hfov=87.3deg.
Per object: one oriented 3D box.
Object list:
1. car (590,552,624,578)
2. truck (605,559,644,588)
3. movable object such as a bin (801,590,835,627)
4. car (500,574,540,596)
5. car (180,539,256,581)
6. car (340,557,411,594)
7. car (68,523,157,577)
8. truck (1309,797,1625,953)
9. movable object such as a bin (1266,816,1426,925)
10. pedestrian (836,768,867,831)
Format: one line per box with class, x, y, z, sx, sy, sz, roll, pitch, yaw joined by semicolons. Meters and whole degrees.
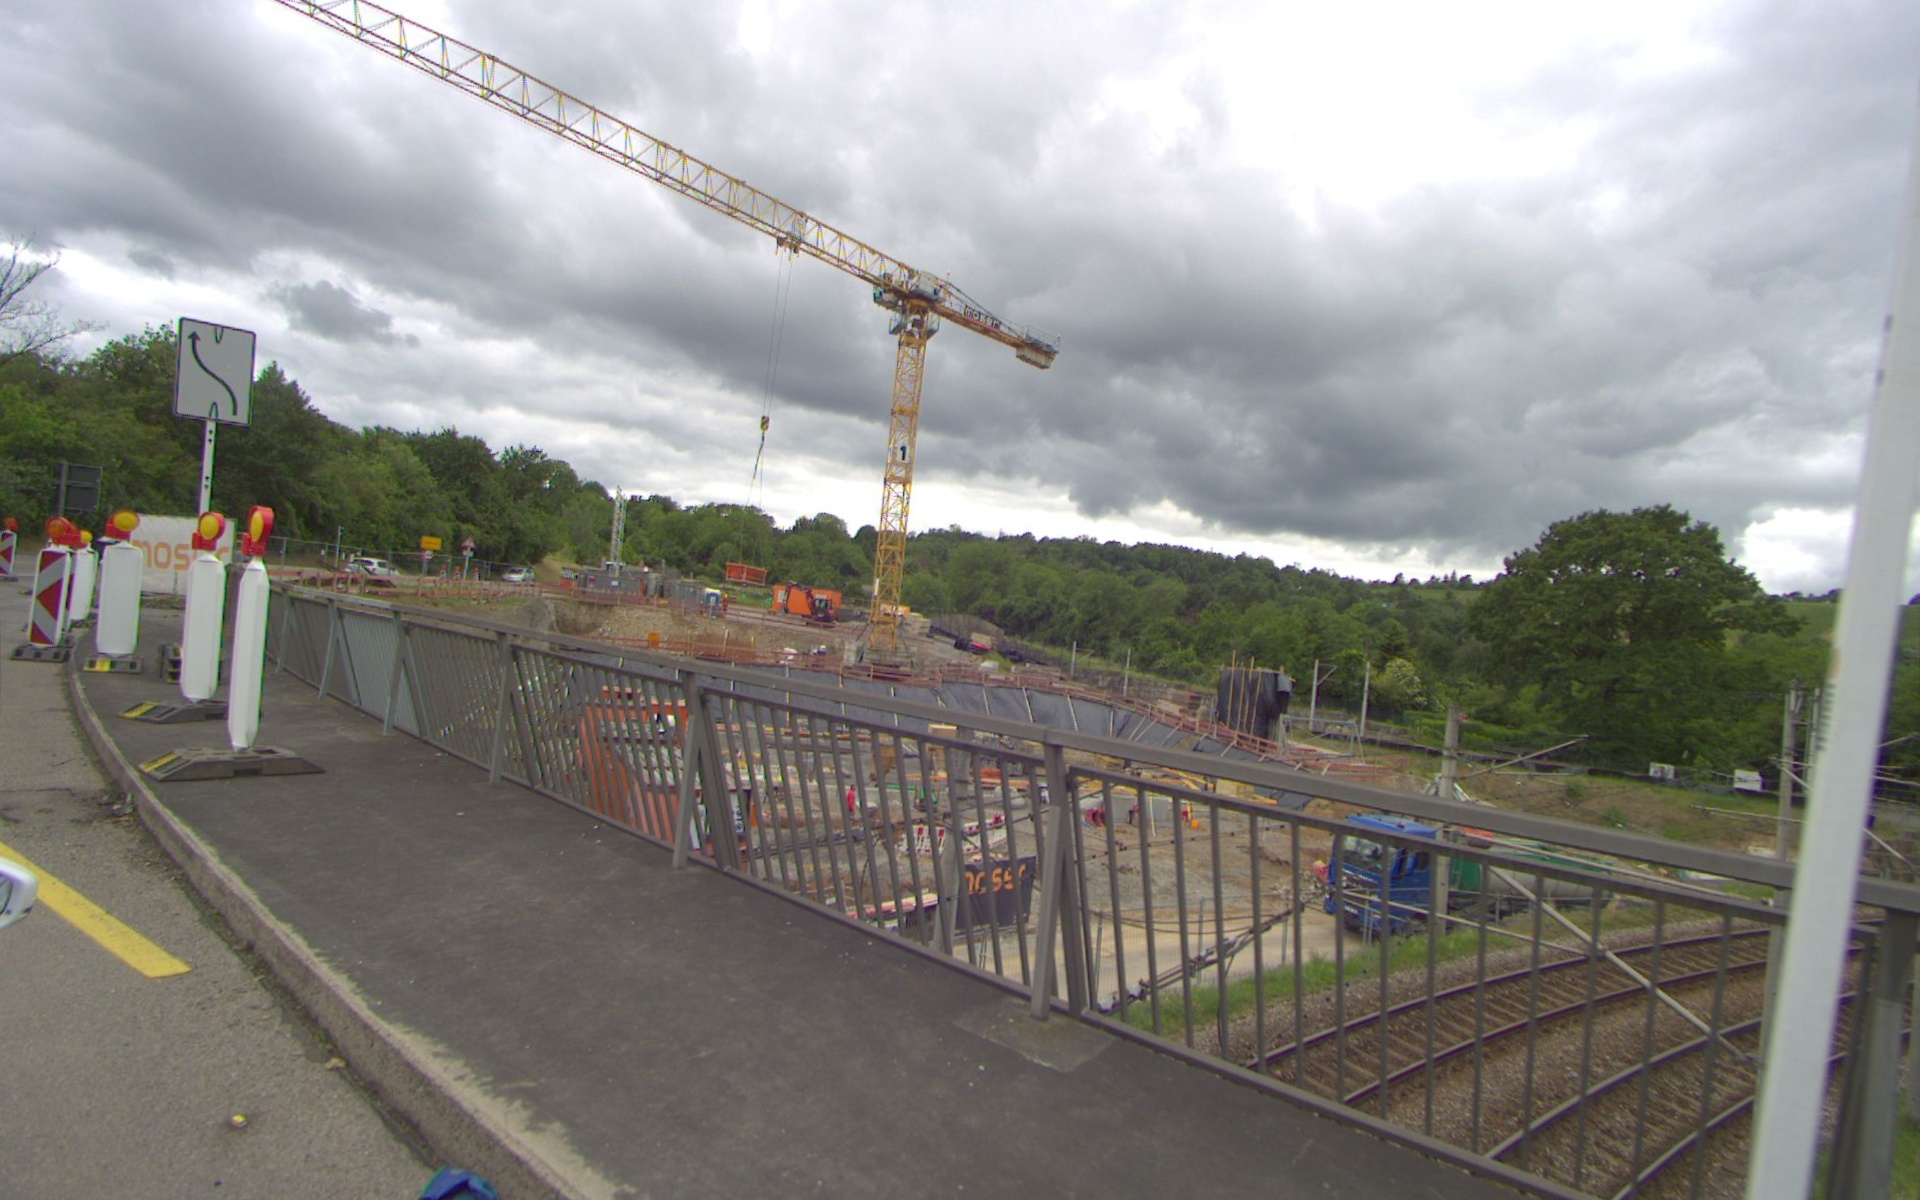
car;-34.154;-3.370;97.458;1.964;2.037;4.000;5;-2;-4
truck;-44.121;-3.469;132.657;2.779;3.378;8.372;6;0;-5
movable object such as a bin;-12.883;0.794;91.510;2.751;3.114;1.839;6;-1;-7
car;-39.672;-1.348;90.764;1.631;1.569;4.189;8;-2;-1
car;-34.331;-1.817;46.681;1.616;1.562;4.332;8;-3;-22
car;-32.690;-1.318;56.389;1.686;1.695;4.000;5;-2;-3
car;-30.240;-1.782;36.008;1.808;1.570;3.756;8;-2;-33
truck;16.734;8.955;32.751;11.492;3.936;2.828;9;-3;-28
movable object such as a bin;13.998;9.796;36.714;4.218;2.780;3.043;9;-2;-11
pedestrian;-3.729;6.870;34.661;0.695;2.035;0.799;5;-4;-26
